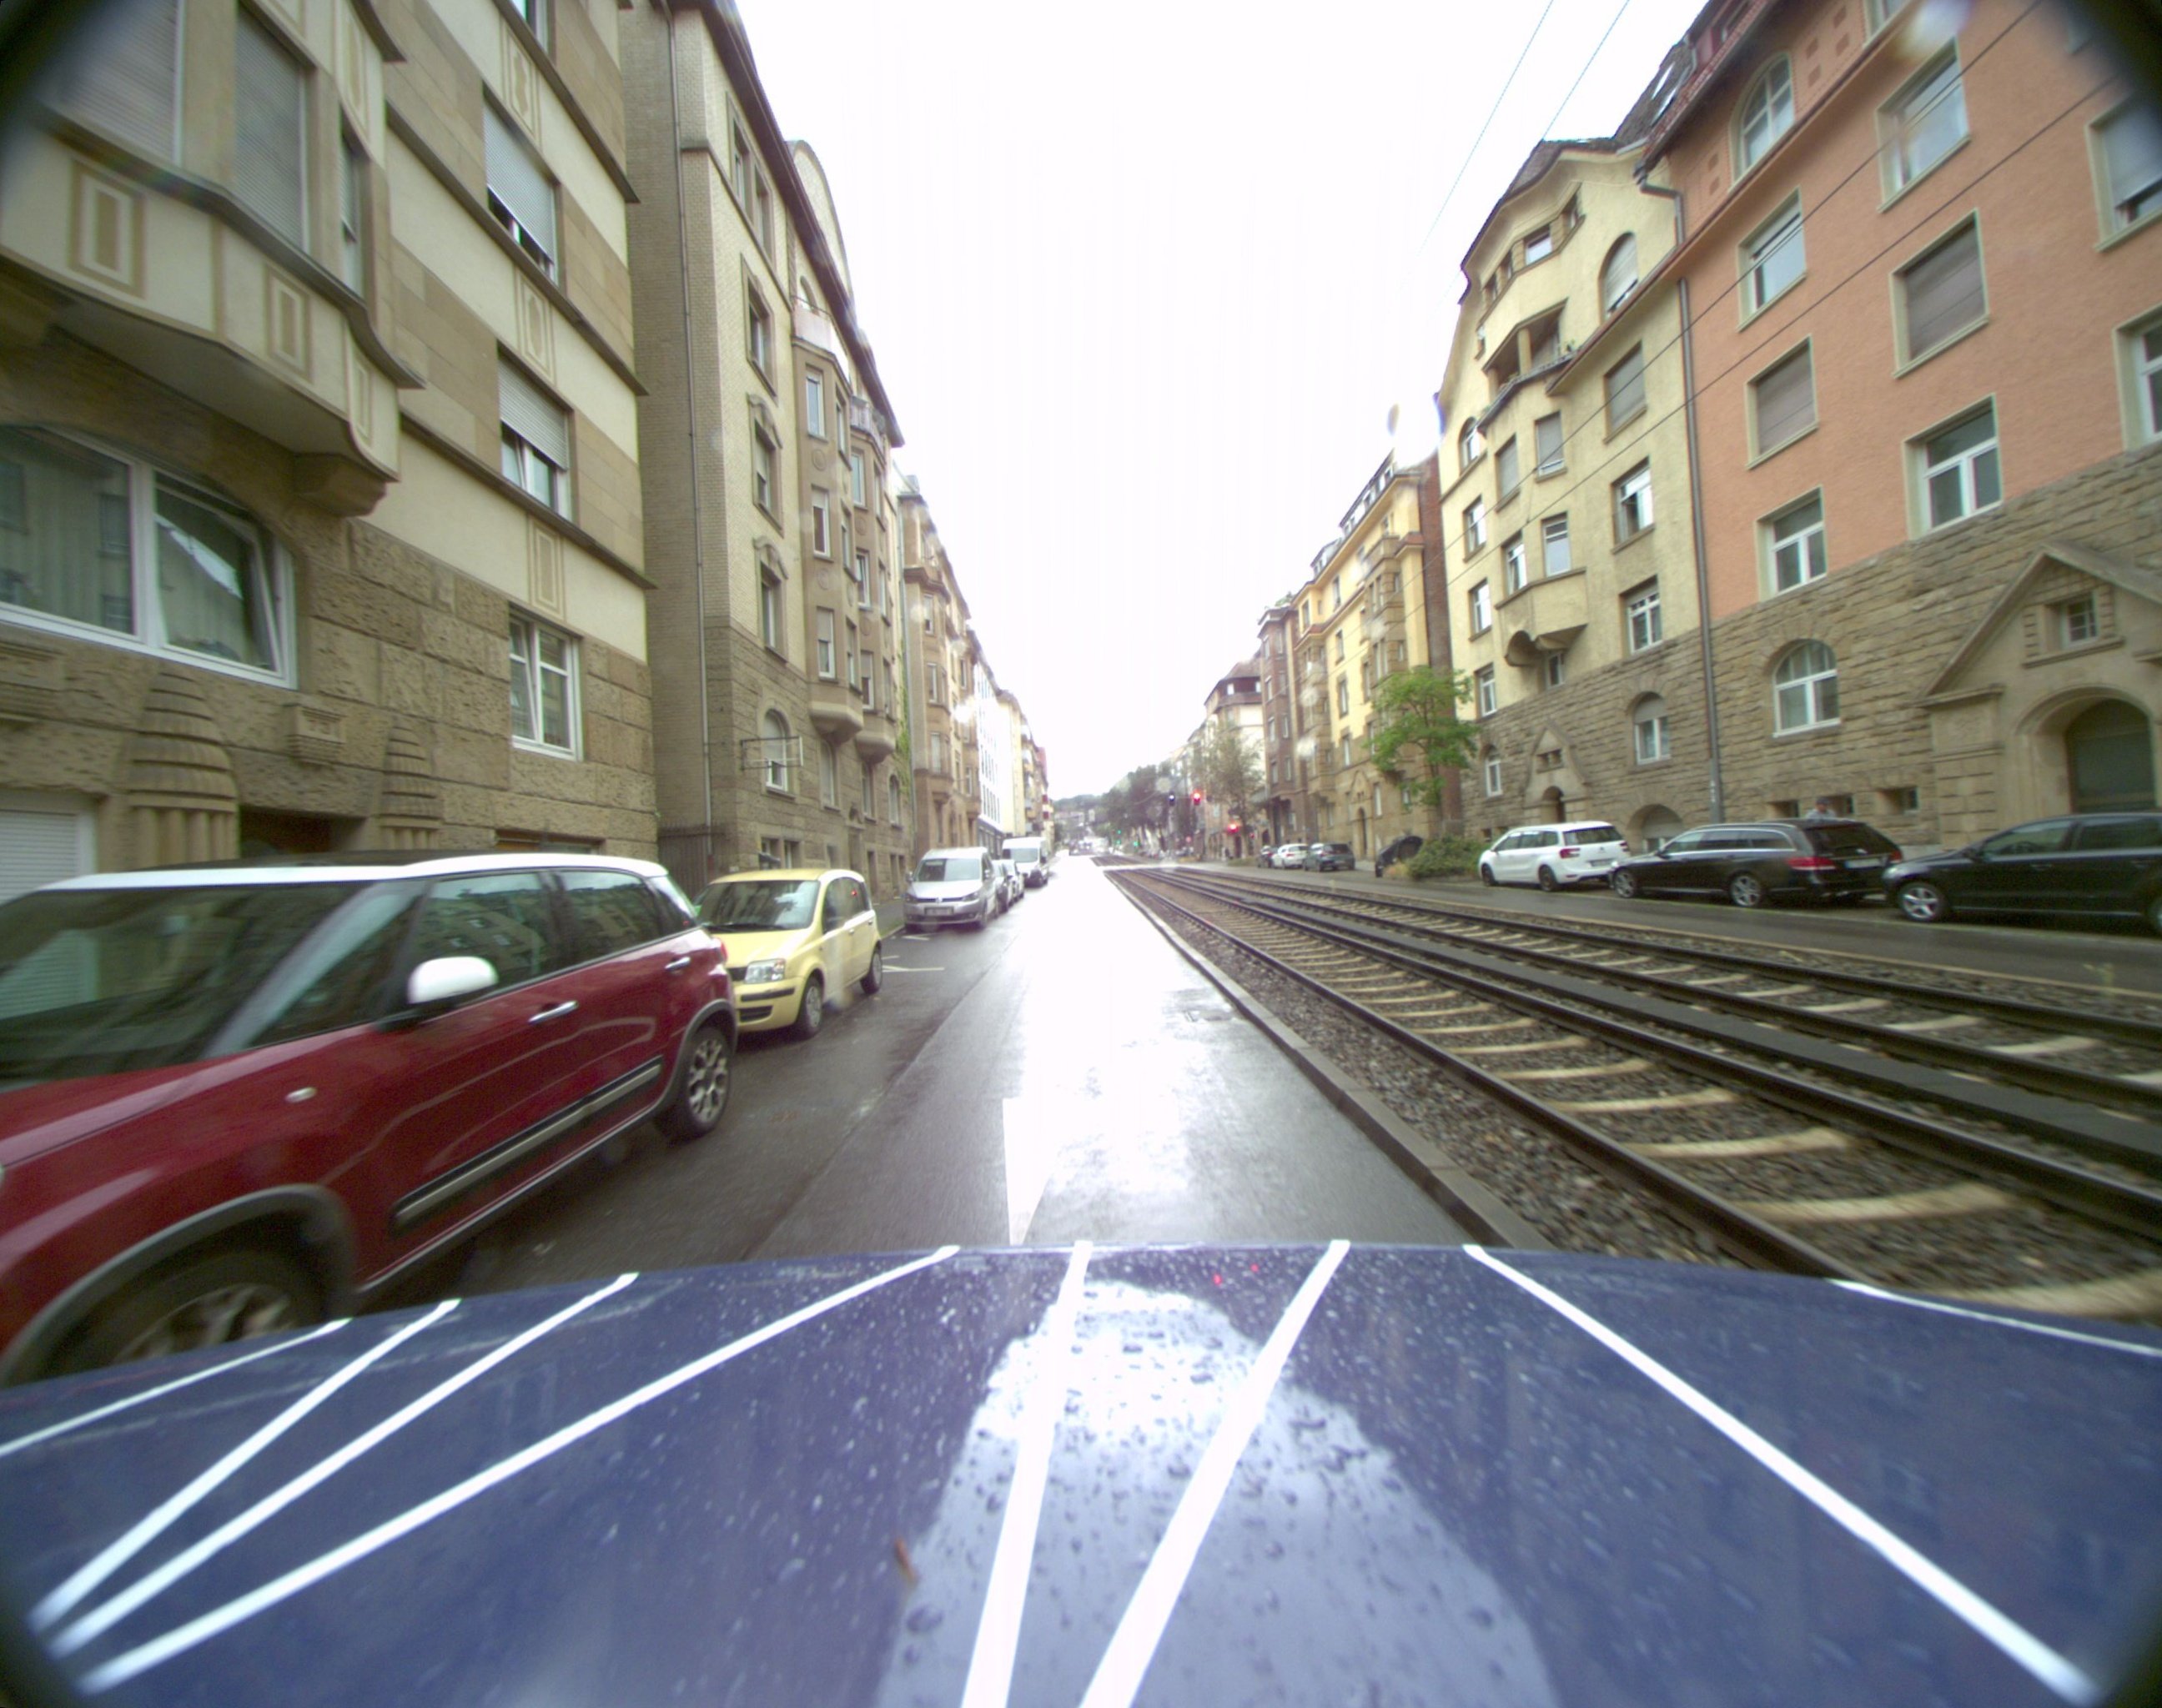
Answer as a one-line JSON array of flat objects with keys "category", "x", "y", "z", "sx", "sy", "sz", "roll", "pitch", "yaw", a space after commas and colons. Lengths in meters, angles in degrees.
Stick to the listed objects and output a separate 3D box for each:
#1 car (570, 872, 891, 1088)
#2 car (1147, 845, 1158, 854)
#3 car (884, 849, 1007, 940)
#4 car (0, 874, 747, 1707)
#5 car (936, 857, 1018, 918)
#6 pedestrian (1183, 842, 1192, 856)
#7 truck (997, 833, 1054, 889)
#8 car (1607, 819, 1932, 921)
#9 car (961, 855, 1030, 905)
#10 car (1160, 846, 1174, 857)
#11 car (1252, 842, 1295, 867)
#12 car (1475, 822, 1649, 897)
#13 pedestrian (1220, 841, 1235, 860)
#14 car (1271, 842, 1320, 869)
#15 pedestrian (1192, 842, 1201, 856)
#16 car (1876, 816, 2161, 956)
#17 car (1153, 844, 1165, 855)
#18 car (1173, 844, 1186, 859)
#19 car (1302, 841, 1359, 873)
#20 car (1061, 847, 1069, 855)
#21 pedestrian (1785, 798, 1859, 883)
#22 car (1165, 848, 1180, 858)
[{"category": "car", "x": -3.199, "y": 1.033, "z": 7.758, "sx": 1.580, "sy": 1.520, "sz": 3.578, "roll": -3, "pitch": 0, "yaw": -1}, {"category": "car", "x": 12.466, "y": -0.748, "z": 132.414, "sx": 1.632, "sy": 1.537, "sz": 3.801, "roll": -3, "pitch": 0, "yaw": 1}, {"category": "car", "x": -3.017, "y": 0.832, "z": 17.916, "sx": 1.968, "sy": 1.792, "sz": 4.459, "roll": -3, "pitch": 0, "yaw": 1}, {"category": "car", "x": -3.045, "y": 0.974, "z": 2.809, "sx": 1.807, "sy": 1.590, "sz": 3.999, "roll": -3, "pitch": 0, "yaw": -1}, {"category": "car", "x": -2.969, "y": 0.919, "z": 22.532, "sx": 1.999, "sy": 1.521, "sz": 3.999, "roll": -3, "pitch": 0, "yaw": -3}, {"category": "pedestrian", "x": 14.913, "y": -0.677, "z": 106.864, "sx": 1.056, "sy": 1.946, "sz": 1.163, "roll": -3, "pitch": 1, "yaw": 2}, {"category": "truck", "x": -2.723, "y": 0.308, "z": 38.661, "sx": 2.235, "sy": 2.521, "sz": 6.143, "roll": -3, "pitch": 0, "yaw": 1}, {"category": "car", "x": 12.284, "y": 0.238, "z": 14.095, "sx": 1.847, "sy": 1.486, "sz": 4.601, "roll": -3, "pitch": 0, "yaw": 1}, {"category": "car", "x": -2.956, "y": 0.857, "z": 27.033, "sx": 1.891, "sy": 1.521, "sz": 3.929, "roll": -3, "pitch": 0, "yaw": 1}, {"category": "car", "x": 12.895, "y": -0.376, "z": 114.075, "sx": 1.771, "sy": 1.507, "sz": 3.845, "roll": -3, "pitch": 0, "yaw": 1}, {"category": "car", "x": 12.486, "y": 0.027, "z": 49.459, "sx": 1.771, "sy": 1.433, "sz": 3.845, "roll": -3, "pitch": 0, "yaw": 1}, {"category": "car", "x": 12.267, "y": 0.120, "z": 19.757, "sx": 1.867, "sy": 1.646, "sz": 4.146, "roll": -3, "pitch": 0, "yaw": 1}, {"category": "pedestrian", "x": 15.891, "y": -0.393, "z": 82.486, "sx": 1.057, "sy": 1.946, "sz": 1.161, "roll": -3, "pitch": 1, "yaw": -20}, {"category": "car", "x": 12.474, "y": 0.084, "z": 44.364, "sx": 1.771, "sy": 1.433, "sz": 4.031, "roll": -3, "pitch": 0, "yaw": 2}, {"category": "pedestrian", "x": 16.213, "y": -0.726, "z": 106.852, "sx": 1.056, "sy": 1.946, "sz": 1.163, "roll": -3, "pitch": 1, "yaw": 2}, {"category": "car", "x": 12.519, "y": 0.309, "z": 9.178, "sx": 1.935, "sy": 1.488, "sz": 3.641, "roll": -2, "pitch": 1, "yaw": -2}, {"category": "car", "x": 12.867, "y": -0.743, "z": 125.545, "sx": 1.657, "sy": 1.589, "sz": 3.775, "roll": -3, "pitch": 0, "yaw": 1}, {"category": "car", "x": 12.692, "y": -0.320, "z": 98.255, "sx": 1.583, "sy": 1.669, "sz": 3.790, "roll": -3, "pitch": 2, "yaw": 7}, {"category": "car", "x": 12.504, "y": 0.100, "z": 38.325, "sx": 1.678, "sy": 1.433, "sz": 3.845, "roll": -4, "pitch": 1, "yaw": 3}, {"category": "car", "x": -4.040, "y": -0.719, "z": 193.207, "sx": 1.998, "sy": 1.838, "sz": 4.000, "roll": -3, "pitch": 0, "yaw": 1}, {"category": "pedestrian", "x": 14.747, "y": -0.263, "z": 15.143, "sx": 0.701, "sy": 1.633, "sz": 0.765, "roll": -2, "pitch": 1, "yaw": 1}, {"category": "car", "x": 12.596, "y": -0.180, "z": 105.093, "sx": 1.583, "sy": 1.303, "sz": 3.845, "roll": -3, "pitch": 0, "yaw": 1}]
